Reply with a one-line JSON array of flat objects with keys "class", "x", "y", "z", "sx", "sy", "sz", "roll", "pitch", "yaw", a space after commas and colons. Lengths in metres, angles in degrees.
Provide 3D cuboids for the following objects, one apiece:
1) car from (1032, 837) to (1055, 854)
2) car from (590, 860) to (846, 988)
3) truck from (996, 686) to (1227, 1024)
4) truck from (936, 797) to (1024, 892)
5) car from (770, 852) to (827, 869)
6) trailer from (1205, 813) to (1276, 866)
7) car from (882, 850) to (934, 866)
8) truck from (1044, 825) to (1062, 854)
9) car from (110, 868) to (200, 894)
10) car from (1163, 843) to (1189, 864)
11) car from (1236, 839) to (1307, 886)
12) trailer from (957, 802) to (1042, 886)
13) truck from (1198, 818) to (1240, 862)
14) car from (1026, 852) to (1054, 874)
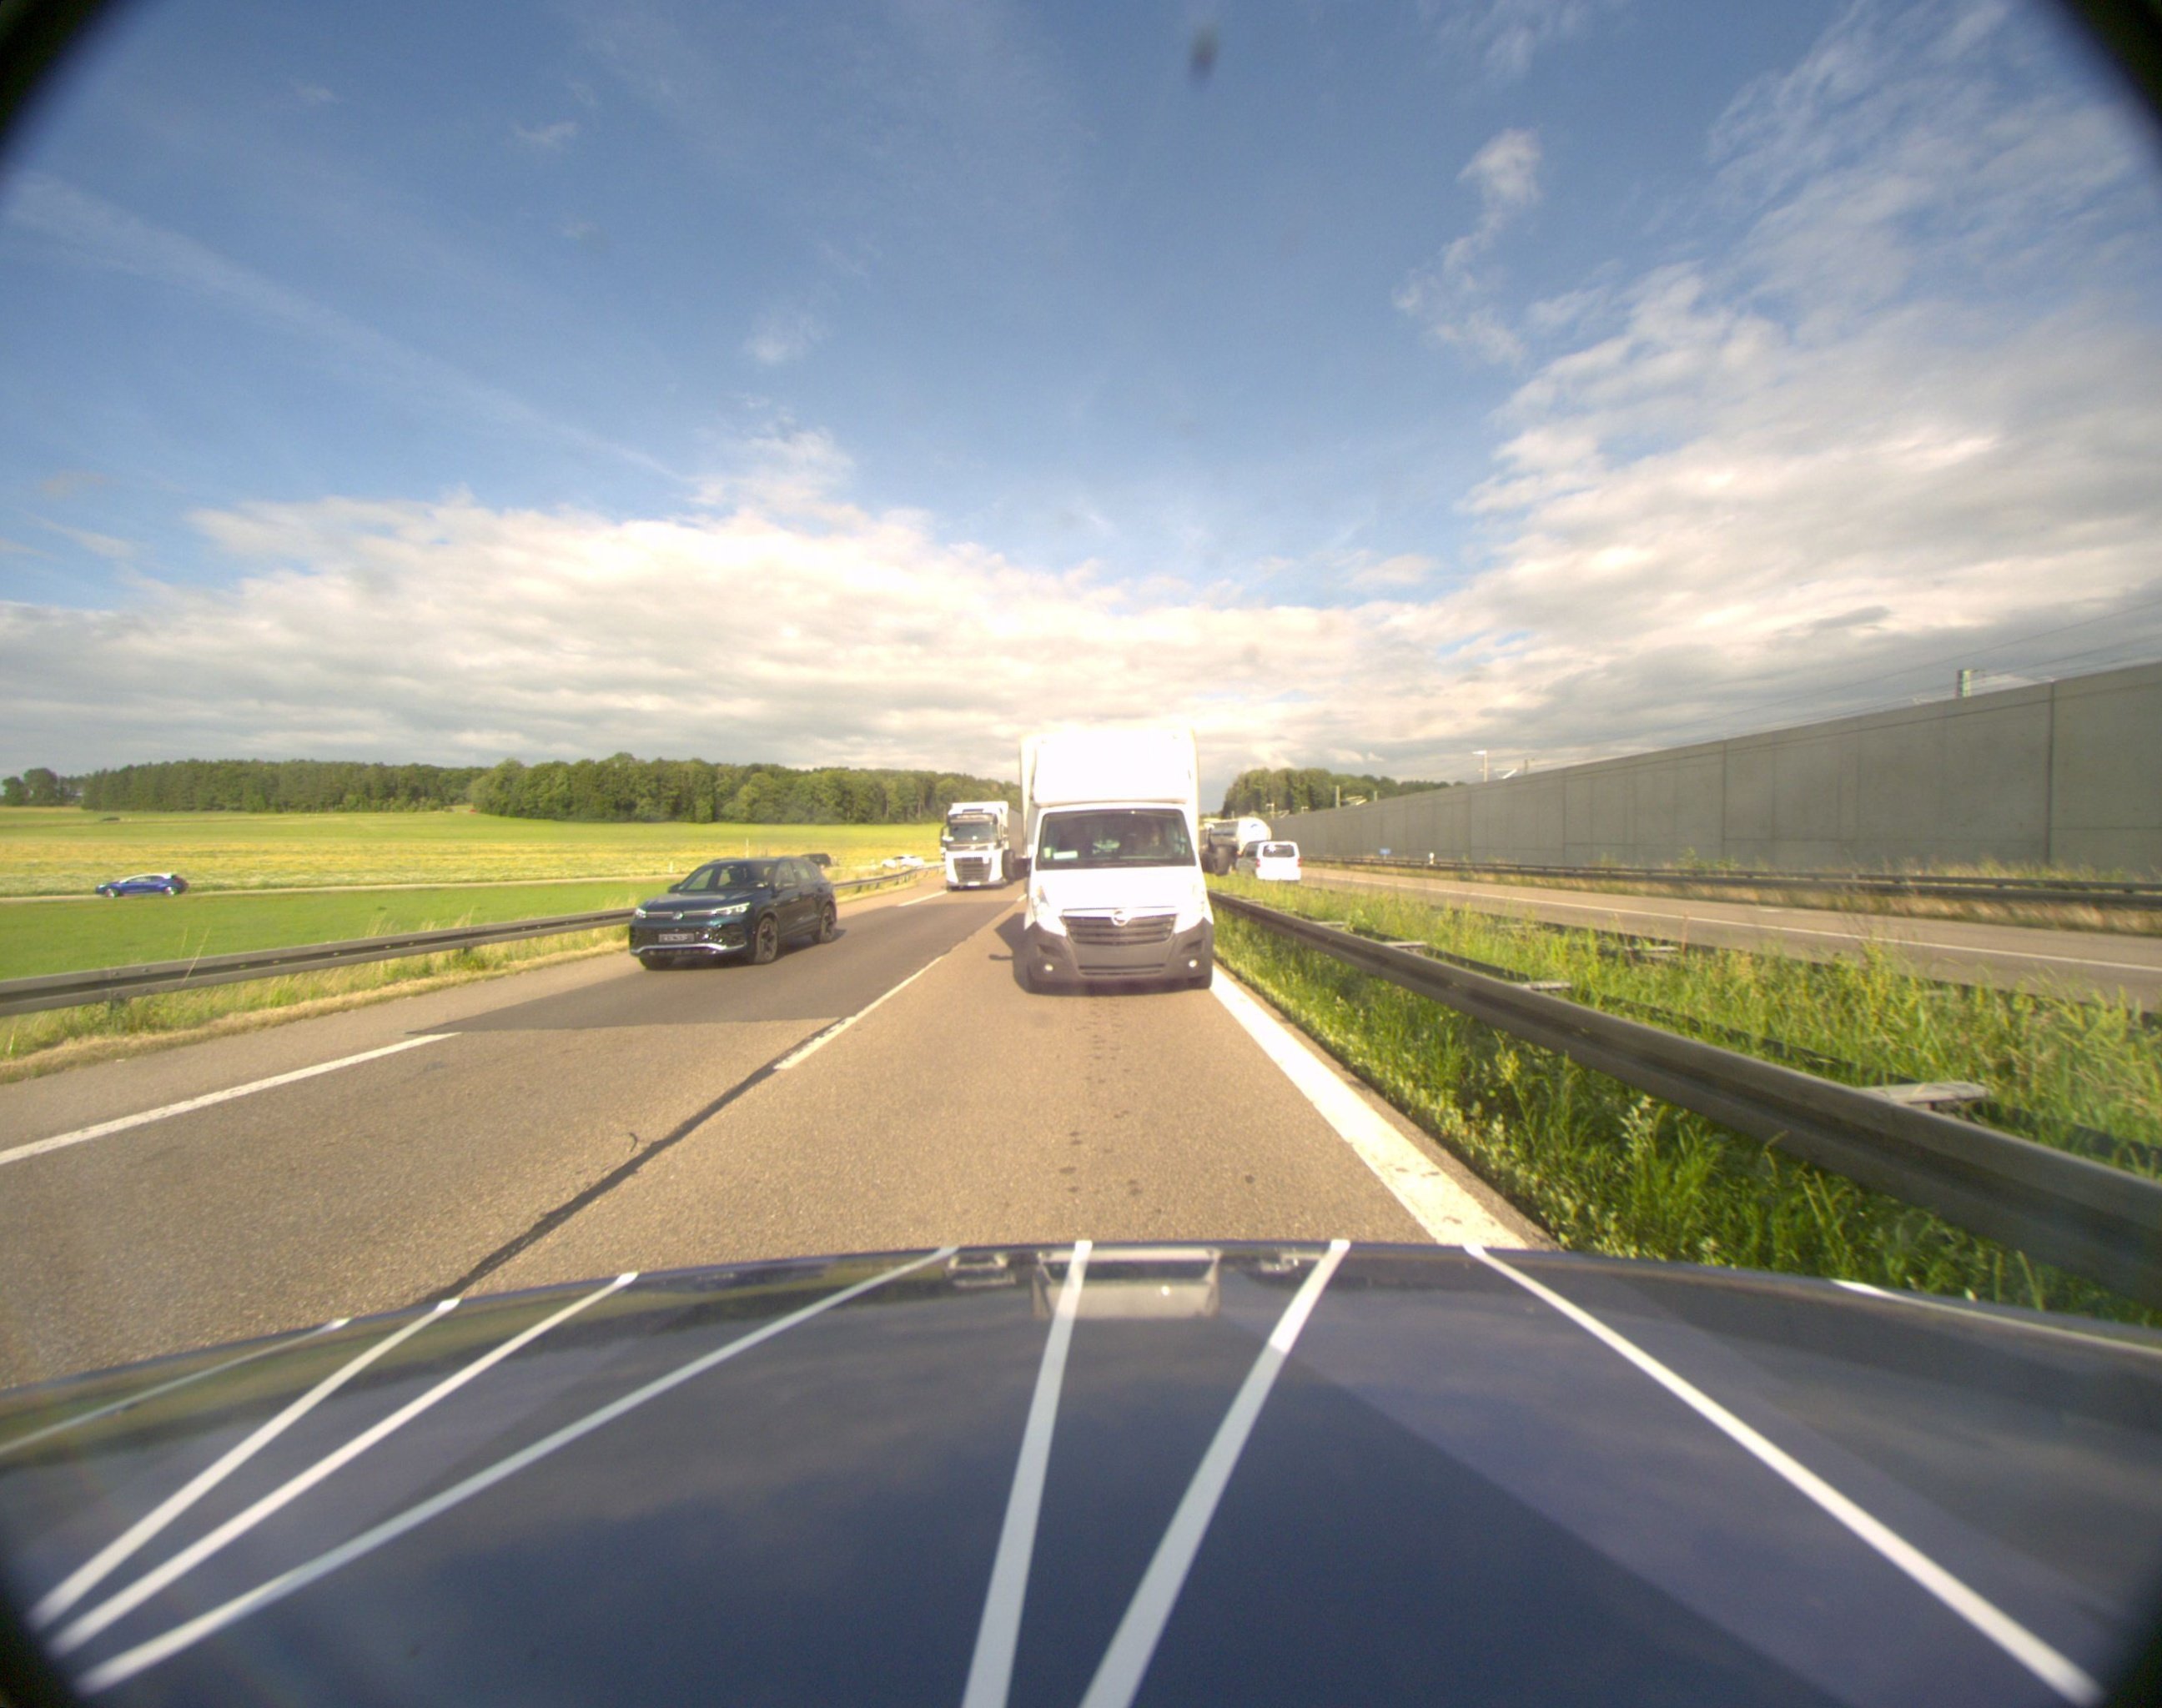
[{"class": "car", "x": -3.831, "y": -0.844, "z": 78.264, "sx": 1.998, "sy": 1.647, "sz": 4.000, "roll": -2, "pitch": 1, "yaw": 2}, {"class": "car", "x": -5.570, "y": 0.972, "z": 12.380, "sx": 1.998, "sy": 1.587, "sz": 4.119, "roll": -2, "pitch": 1, "yaw": 2}, {"class": "truck", "x": 0.448, "y": -0.039, "z": 11.006, "sx": 2.059, "sy": 3.088, "sz": 7.803, "roll": -2, "pitch": 1, "yaw": 2}, {"class": "truck", "x": -4.546, "y": -0.452, "z": 35.597, "sx": 2.842, "sy": 3.967, "sz": 6.501, "roll": -2, "pitch": 1, "yaw": 2}, {"class": "car", "x": -29.596, "y": 0.679, "z": 79.691, "sx": 5.130, "sy": 1.548, "sz": 1.995, "roll": -3, "pitch": 1, "yaw": -39}, {"class": "trailer", "x": 12.403, "y": -1.120, "z": 60.486, "sx": 2.547, "sy": 3.749, "sz": 12.535, "roll": 0, "pitch": 1, "yaw": -2}, {"class": "car", "x": -17.942, "y": 0.415, "z": 78.730, "sx": 5.068, "sy": 1.537, "sz": 2.003, "roll": -2, "pitch": 1, "yaw": 24}, {"class": "truck", "x": -3.760, "y": -1.970, "z": 103.202, "sx": 1.998, "sy": 3.663, "sz": 5.931, "roll": -2, "pitch": 1, "yaw": 2}, {"class": "car", "x": -63.767, "y": 1.837, "z": 52.415, "sx": 3.567, "sy": 1.521, "sz": 1.720, "roll": -3, "pitch": 1, "yaw": -37}, {"class": "car", "x": 8.815, "y": -0.042, "z": 70.741, "sx": 1.864, "sy": 1.823, "sz": 4.280, "roll": -2, "pitch": 1, "yaw": 1}, {"class": "car", "x": 8.271, "y": 0.307, "z": 33.414, "sx": 1.998, "sy": 1.873, "sz": 4.786, "roll": 0, "pitch": 1, "yaw": 1}, {"class": "trailer", "x": -4.237, "y": -0.568, "z": 42.806, "sx": 2.826, "sy": 3.959, "sz": 12.128, "roll": -2, "pitch": 1, "yaw": 2}, {"class": "truck", "x": 12.138, "y": -1.245, "z": 67.203, "sx": 2.559, "sy": 3.776, "sz": 5.415, "roll": 0, "pitch": 1, "yaw": -2}, {"class": "car", "x": -3.415, "y": 0.725, "z": 63.691, "sx": 1.998, "sy": 1.647, "sz": 4.000, "roll": -2, "pitch": 1, "yaw": 2}]
